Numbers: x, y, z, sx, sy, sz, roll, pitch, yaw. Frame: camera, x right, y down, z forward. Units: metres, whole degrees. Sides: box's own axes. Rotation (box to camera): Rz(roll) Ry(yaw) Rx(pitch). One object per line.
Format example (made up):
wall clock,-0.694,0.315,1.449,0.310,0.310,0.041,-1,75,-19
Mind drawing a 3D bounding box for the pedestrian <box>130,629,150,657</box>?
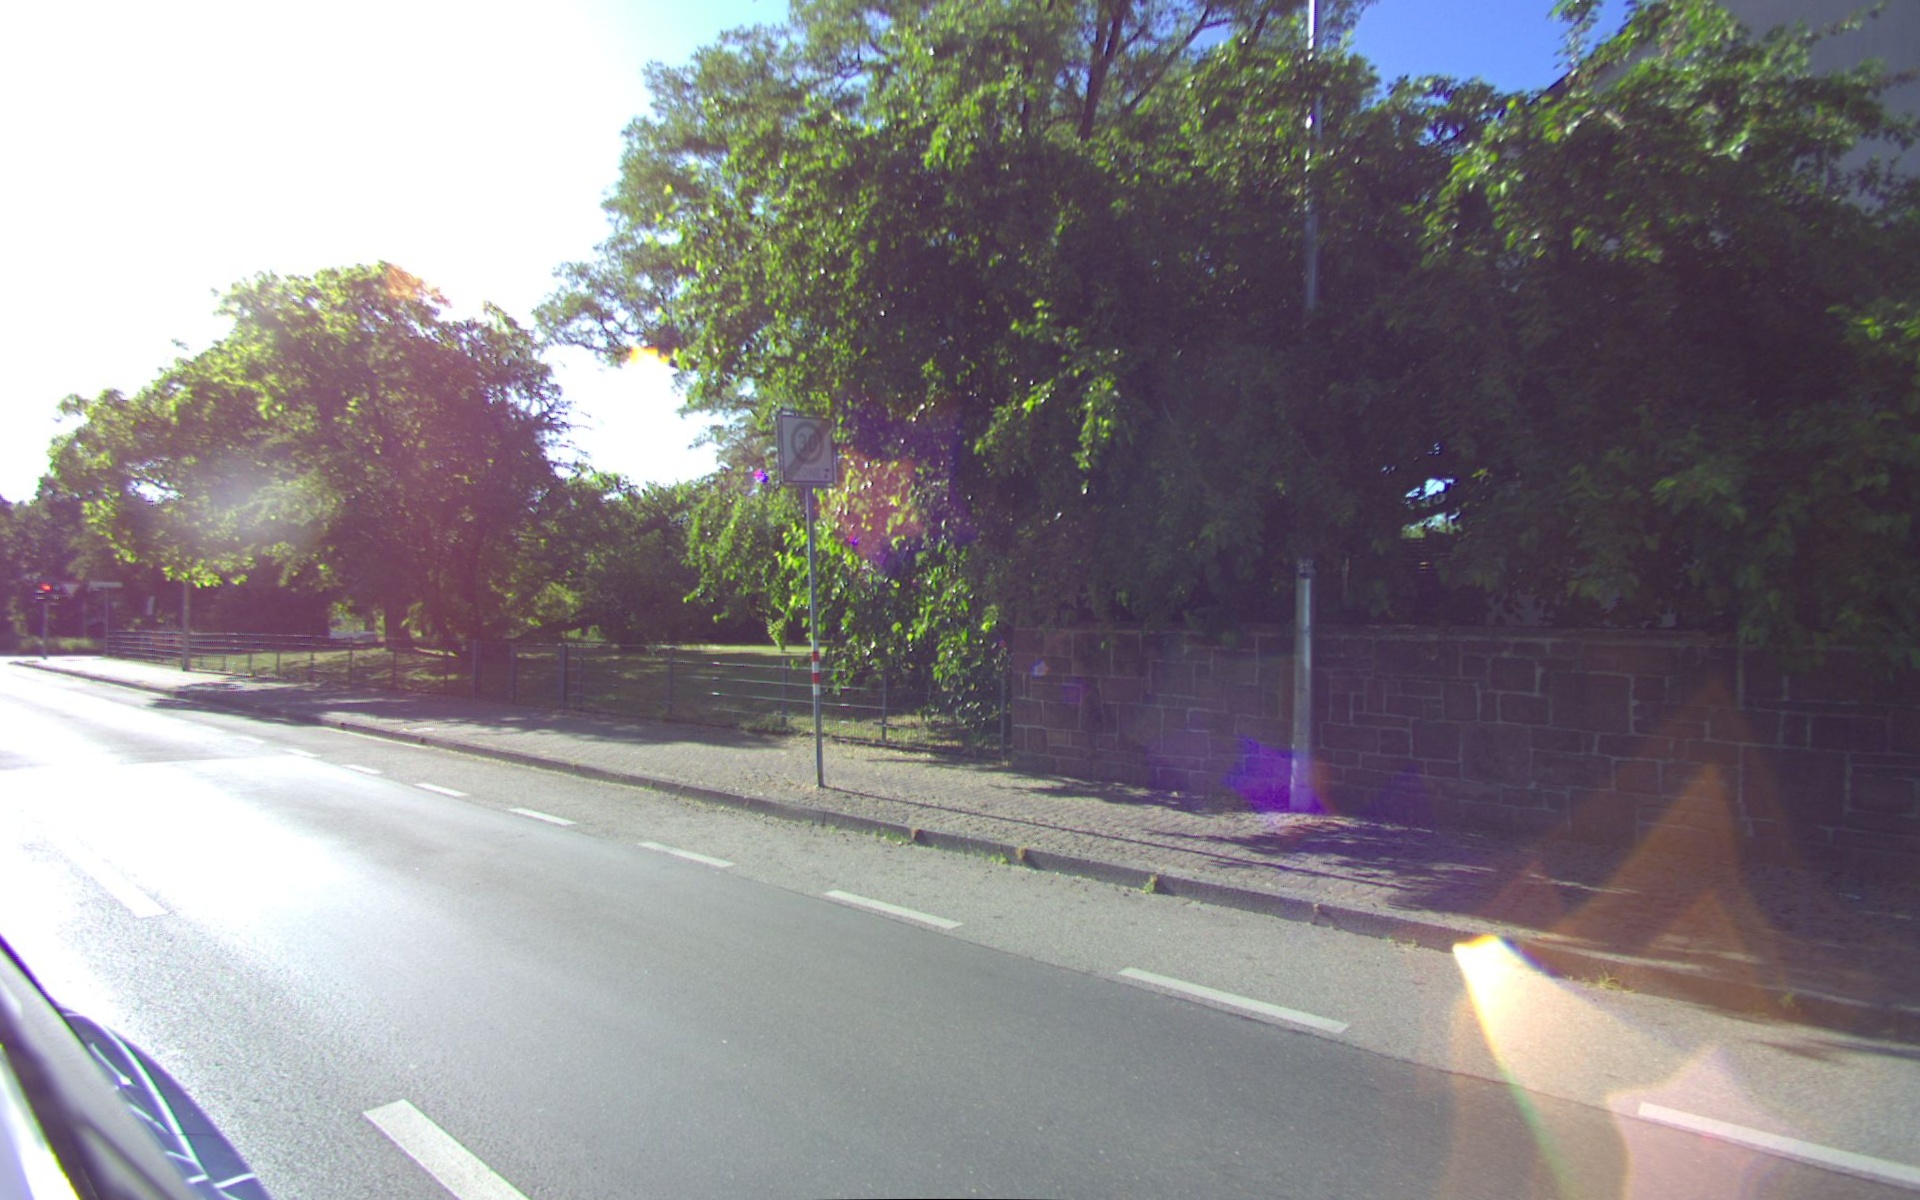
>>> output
pedestrian,-48.528,2.526,59.903,0.647,1.646,0.790,-2,-2,41
